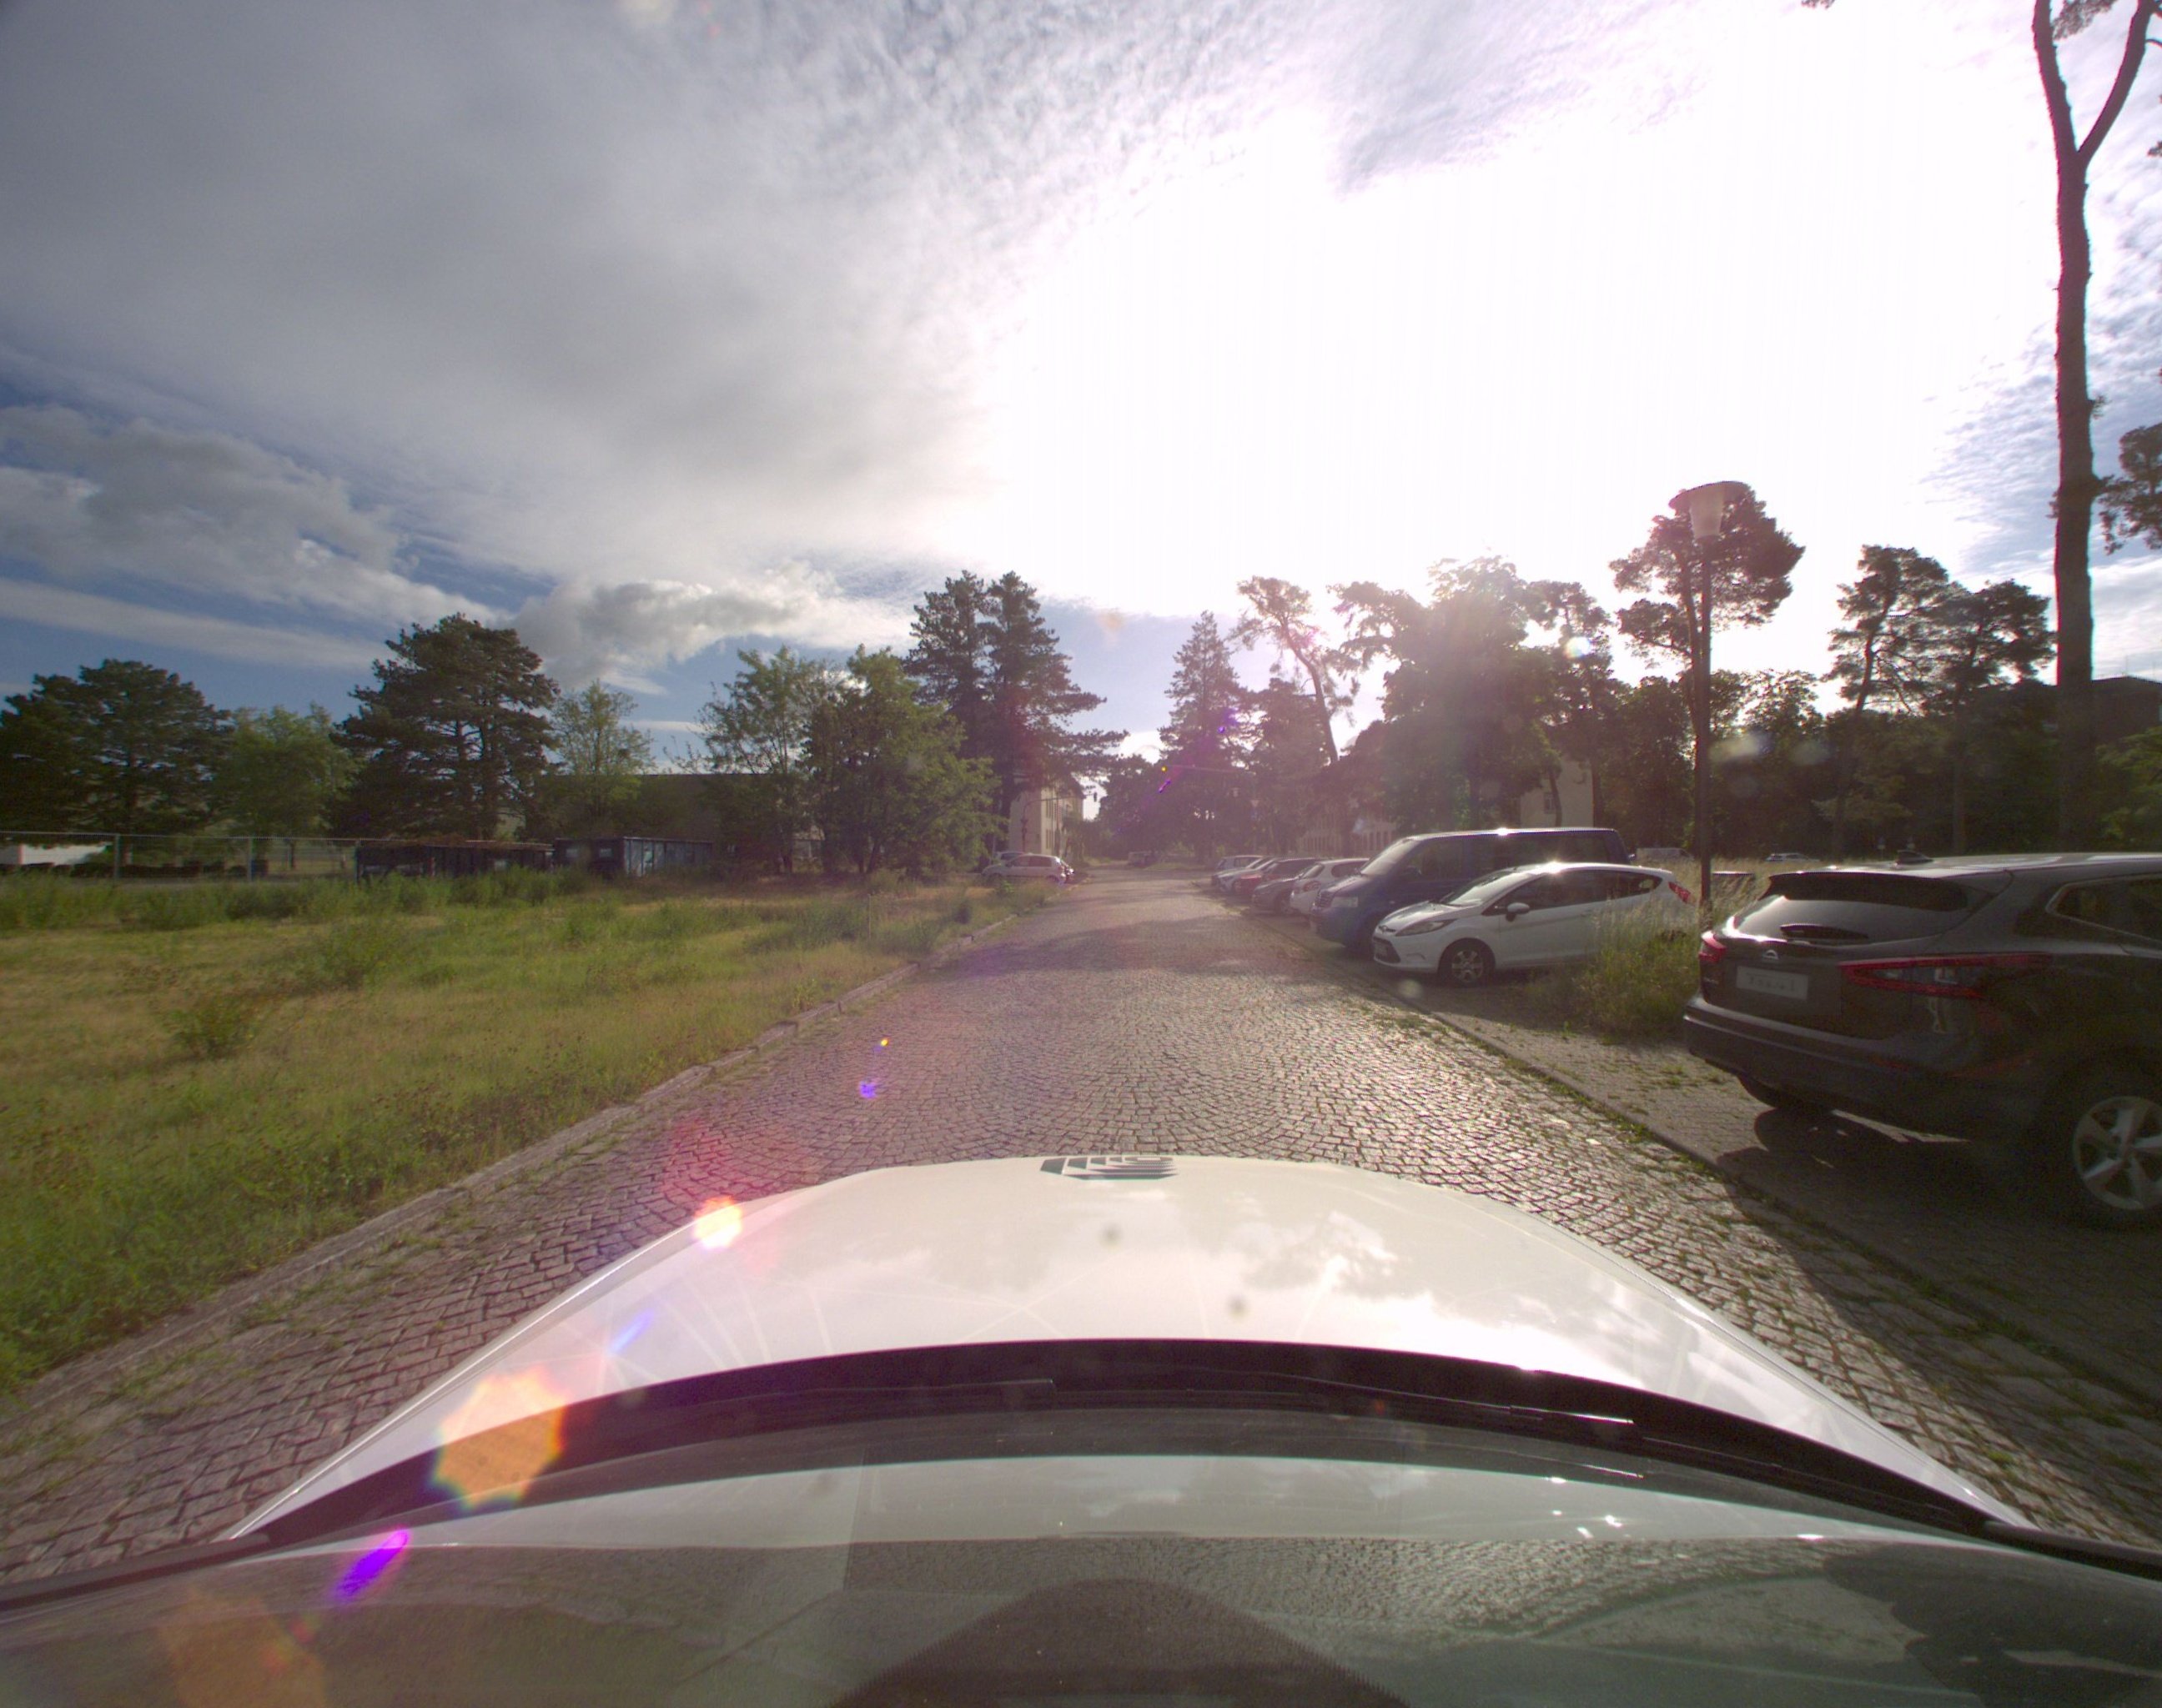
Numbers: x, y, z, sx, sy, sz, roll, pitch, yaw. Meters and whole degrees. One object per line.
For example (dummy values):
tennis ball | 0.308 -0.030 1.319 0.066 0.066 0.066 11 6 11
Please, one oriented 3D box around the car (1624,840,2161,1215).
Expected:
car | 5.635 0.732 4.361 4.174 1.589 1.879 -1 -1 2

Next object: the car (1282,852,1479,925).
car | 6.697 0.763 18.558 3.857 1.530 1.809 -1 -1 3

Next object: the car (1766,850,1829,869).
car | 62.558 0.467 71.143 3.917 1.679 1.857 0 -1 1

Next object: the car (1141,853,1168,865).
car | 9.031 0.647 100.555 3.031 1.465 1.714 0 -1 -9

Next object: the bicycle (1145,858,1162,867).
bicycle | 7.878 0.900 88.215 1.786 0.999 0.644 -1 1 2

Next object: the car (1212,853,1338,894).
car | 7.455 0.741 31.617 4.488 1.473 1.851 -1 -1 3

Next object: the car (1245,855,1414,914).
car | 6.440 0.782 21.436 3.934 1.467 1.832 -1 -1 3

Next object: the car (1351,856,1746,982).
car | 5.935 0.789 10.716 4.177 1.470 1.807 -1 -1 -1

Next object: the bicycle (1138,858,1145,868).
bicycle | 6.283 0.896 84.701 0.725 0.999 1.800 -1 1 4

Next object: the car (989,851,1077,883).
car | -2.567 0.711 44.588 4.571 1.455 1.904 3 1 1

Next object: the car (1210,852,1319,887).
car | 8.263 0.701 36.991 4.527 1.505 1.934 -1 -1 1

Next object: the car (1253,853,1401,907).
car | 7.267 0.762 24.322 3.934 1.495 1.774 -1 -1 3

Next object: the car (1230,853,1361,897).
car | 7.644 0.756 29.331 4.322 1.473 1.741 -1 -1 3

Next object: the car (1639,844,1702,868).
car | 63.116 0.216 87.261 5.134 2.536 2.267 0 -1 4

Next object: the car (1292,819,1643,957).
car | 6.042 0.525 13.230 4.713 1.928 1.993 -2 -1 2

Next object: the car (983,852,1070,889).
car | -2.405 0.739 36.668 3.669 1.473 1.850 3 -1 2

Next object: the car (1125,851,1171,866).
car | 8.595 0.556 104.153 5.502 1.916 2.246 0 -1 -11

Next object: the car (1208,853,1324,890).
car | 7.744 0.739 34.387 4.493 1.473 1.894 -1 -1 -1

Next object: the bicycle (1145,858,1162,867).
bicycle | 7.941 0.912 89.235 1.786 0.999 0.644 -1 1 2

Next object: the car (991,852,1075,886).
car | -2.268 0.717 39.323 3.813 1.429 1.860 3 -1 2

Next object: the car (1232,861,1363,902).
car | 7.101 0.894 26.975 3.934 1.261 1.728 -1 -1 3

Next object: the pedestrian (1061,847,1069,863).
pedestrian | -1.960 0.132 101.126 0.981 1.963 0.933 0 -1 3

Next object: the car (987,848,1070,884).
car | -2.640 0.627 42.044 4.109 1.600 1.858 3 -1 -1
